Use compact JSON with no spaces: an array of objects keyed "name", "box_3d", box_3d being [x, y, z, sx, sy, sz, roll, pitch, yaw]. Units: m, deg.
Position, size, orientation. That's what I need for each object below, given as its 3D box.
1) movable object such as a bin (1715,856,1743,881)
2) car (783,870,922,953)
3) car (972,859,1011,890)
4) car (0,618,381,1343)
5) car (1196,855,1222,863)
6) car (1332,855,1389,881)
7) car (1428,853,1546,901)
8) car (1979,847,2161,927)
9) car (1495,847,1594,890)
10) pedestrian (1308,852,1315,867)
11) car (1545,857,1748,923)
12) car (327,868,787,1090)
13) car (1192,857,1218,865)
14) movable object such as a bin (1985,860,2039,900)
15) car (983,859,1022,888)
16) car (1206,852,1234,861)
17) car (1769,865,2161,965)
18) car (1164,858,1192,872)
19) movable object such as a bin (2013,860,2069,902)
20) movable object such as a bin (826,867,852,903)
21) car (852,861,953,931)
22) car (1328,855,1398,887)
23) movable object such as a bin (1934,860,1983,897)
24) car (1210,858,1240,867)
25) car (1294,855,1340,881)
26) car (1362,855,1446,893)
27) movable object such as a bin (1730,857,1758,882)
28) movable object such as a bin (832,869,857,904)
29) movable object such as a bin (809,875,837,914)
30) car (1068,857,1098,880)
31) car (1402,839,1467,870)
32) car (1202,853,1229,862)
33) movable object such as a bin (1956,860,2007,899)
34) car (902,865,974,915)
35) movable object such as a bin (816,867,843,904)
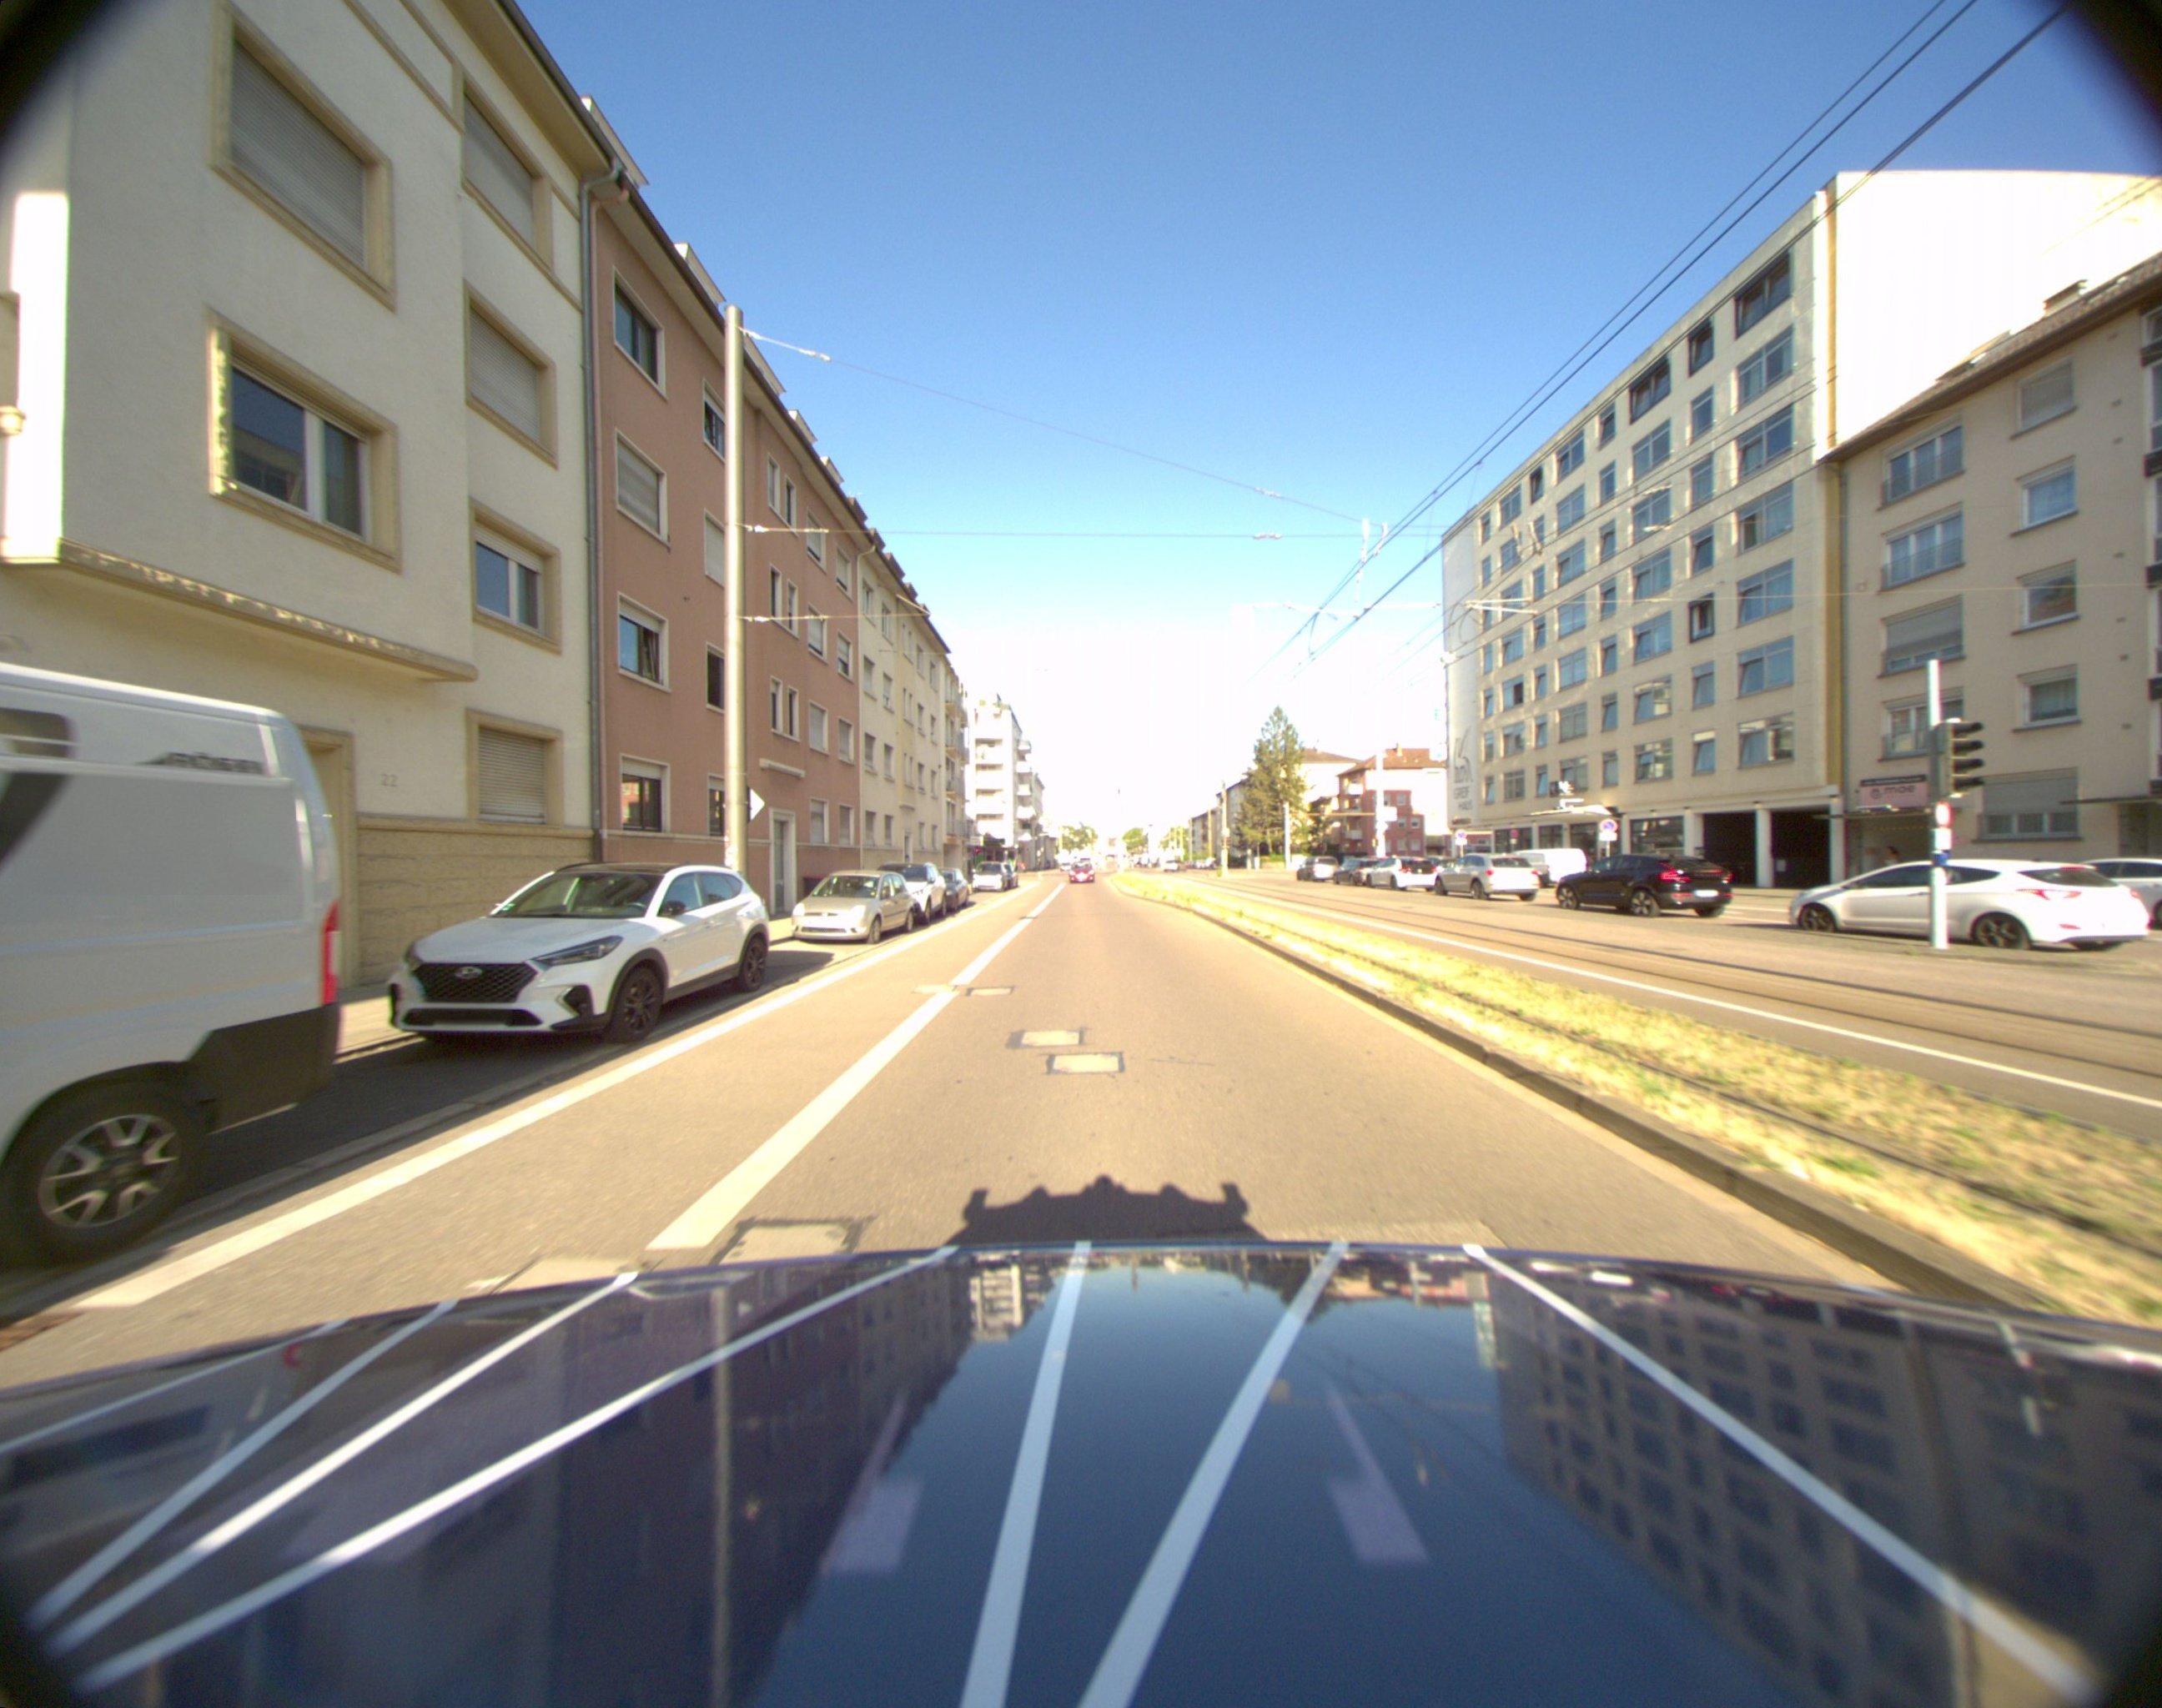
[{"name":"movable object such as a bin","box_3d":[27.447,0.620,32.174,0.545,1.045,0.775,0,0,3]},{"name":"car","box_3d":[-4.798,1.147,16.586,1.625,1.452,4.055,2,0,2]},{"name":"car","box_3d":[-4.626,1.027,39.526,1.762,1.543,2.649,1,0,-1]},{"name":"car","box_3d":[-5.087,0.458,1.157,2.156,2.680,6.292,1,0,1]},{"name":"car","box_3d":[21.030,0.805,125.260,3.997,1.324,1.738,0,0,0]},{"name":"car","box_3d":[17.281,0.848,47.229,1.999,1.550,3.999,-1,0,-1]},{"name":"car","box_3d":[14.260,0.767,27.038,1.787,1.572,4.608,0,0,1]},{"name":"car","box_3d":[22.251,0.652,15.978,1.763,1.477,4.199,-3,0,1]},{"name":"car","box_3d":[23.186,0.684,38.276,1.999,1.887,4.669,-3,0,-1]},{"name":"pedestrian","box_3d":[26.341,0.622,86.870,0.615,1.597,0.510,-3,1,-1]},{"name":"car","box_3d":[14.471,0.840,19.830,1.788,1.519,4.413,0,0,-4]},{"name":"car","box_3d":[-4.948,1.018,8.193,1.852,1.628,4.574,0,0,-1]},{"name":"car","box_3d":[21.084,1.112,129.325,3.997,1.324,1.738,0,0,0]},{"name":"movable object such as a bin","box_3d":[25.828,0.714,21.079,0.774,1.045,0.546,-3,1,1]},{"name":"car","box_3d":[-4.420,1.062,43.427,1.822,1.543,4.174,1,0,-1]},{"name":"car","box_3d":[21.071,0.323,115.406,3.997,1.324,1.738,0,0,0]},{"name":"car","box_3d":[14.903,0.906,13.113,1.839,1.377,4.413,0,0,-5]},{"name":"car","box_3d":[11.281,1.288,88.336,1.718,1.379,3.720,-3,0,32]},{"name":"movable object such as a bin","box_3d":[25.822,0.721,20.453,0.774,1.045,0.546,-3,1,1]},{"name":"movable object such as a bin","box_3d":[-7.999,1.008,25.120,0.605,1.128,0.563,-3,1,1]},{"name":"car","box_3d":[-4.869,1.079,21.374,1.806,1.687,4.490,2,0,-1]},{"name":"car","box_3d":[14.869,0.871,40.348,1.999,1.541,4.366,1,0,-1]},{"name":"movable object such as a bin","box_3d":[25.852,0.716,22.389,0.774,1.045,0.546,-3,1,1]},{"name":"car","box_3d":[20.793,1.250,109.826,3.997,1.324,1.738,0,0,0]},{"name":"car","box_3d":[14.633,0.836,47.268,1.617,1.550,4.000,1,0,0]},{"name":"car","box_3d":[14.404,0.851,34.175,1.861,1.541,4.240,1,0,-1]},{"name":"movable object such as a bin","box_3d":[28.033,0.637,32.145,0.545,1.045,0.775,0,0,3]},{"name":"movable object such as a bin","box_3d":[-7.994,1.099,25.722,0.605,1.128,0.563,-3,1,1]},{"name":"movable object such as a bin","box_3d":[-7.987,1.253,23.534,0.605,1.128,0.563,-3,1,1]},{"name":"car","box_3d":[0.163,0.918,49.435,1.862,1.461,3.809,0,0,1]},{"name":"car","box_3d":[17.942,0.038,38.760,1.571,1.492,3.571,1,0,-1]},{"name":"car","box_3d":[21.301,0.544,120.559,3.997,1.324,1.738,0,0,0]},{"name":"movable object such as a bin","box_3d":[25.841,0.729,21.812,0.774,1.045,0.546,-3,1,1]},{"name":"car","box_3d":[-4.903,1.195,26.547,1.750,1.470,4.153,2,0,-1]},{"name":"movable object such as a bin","box_3d":[-8.036,1.012,24.281,0.605,1.128,0.563,-3,1,1]}]
